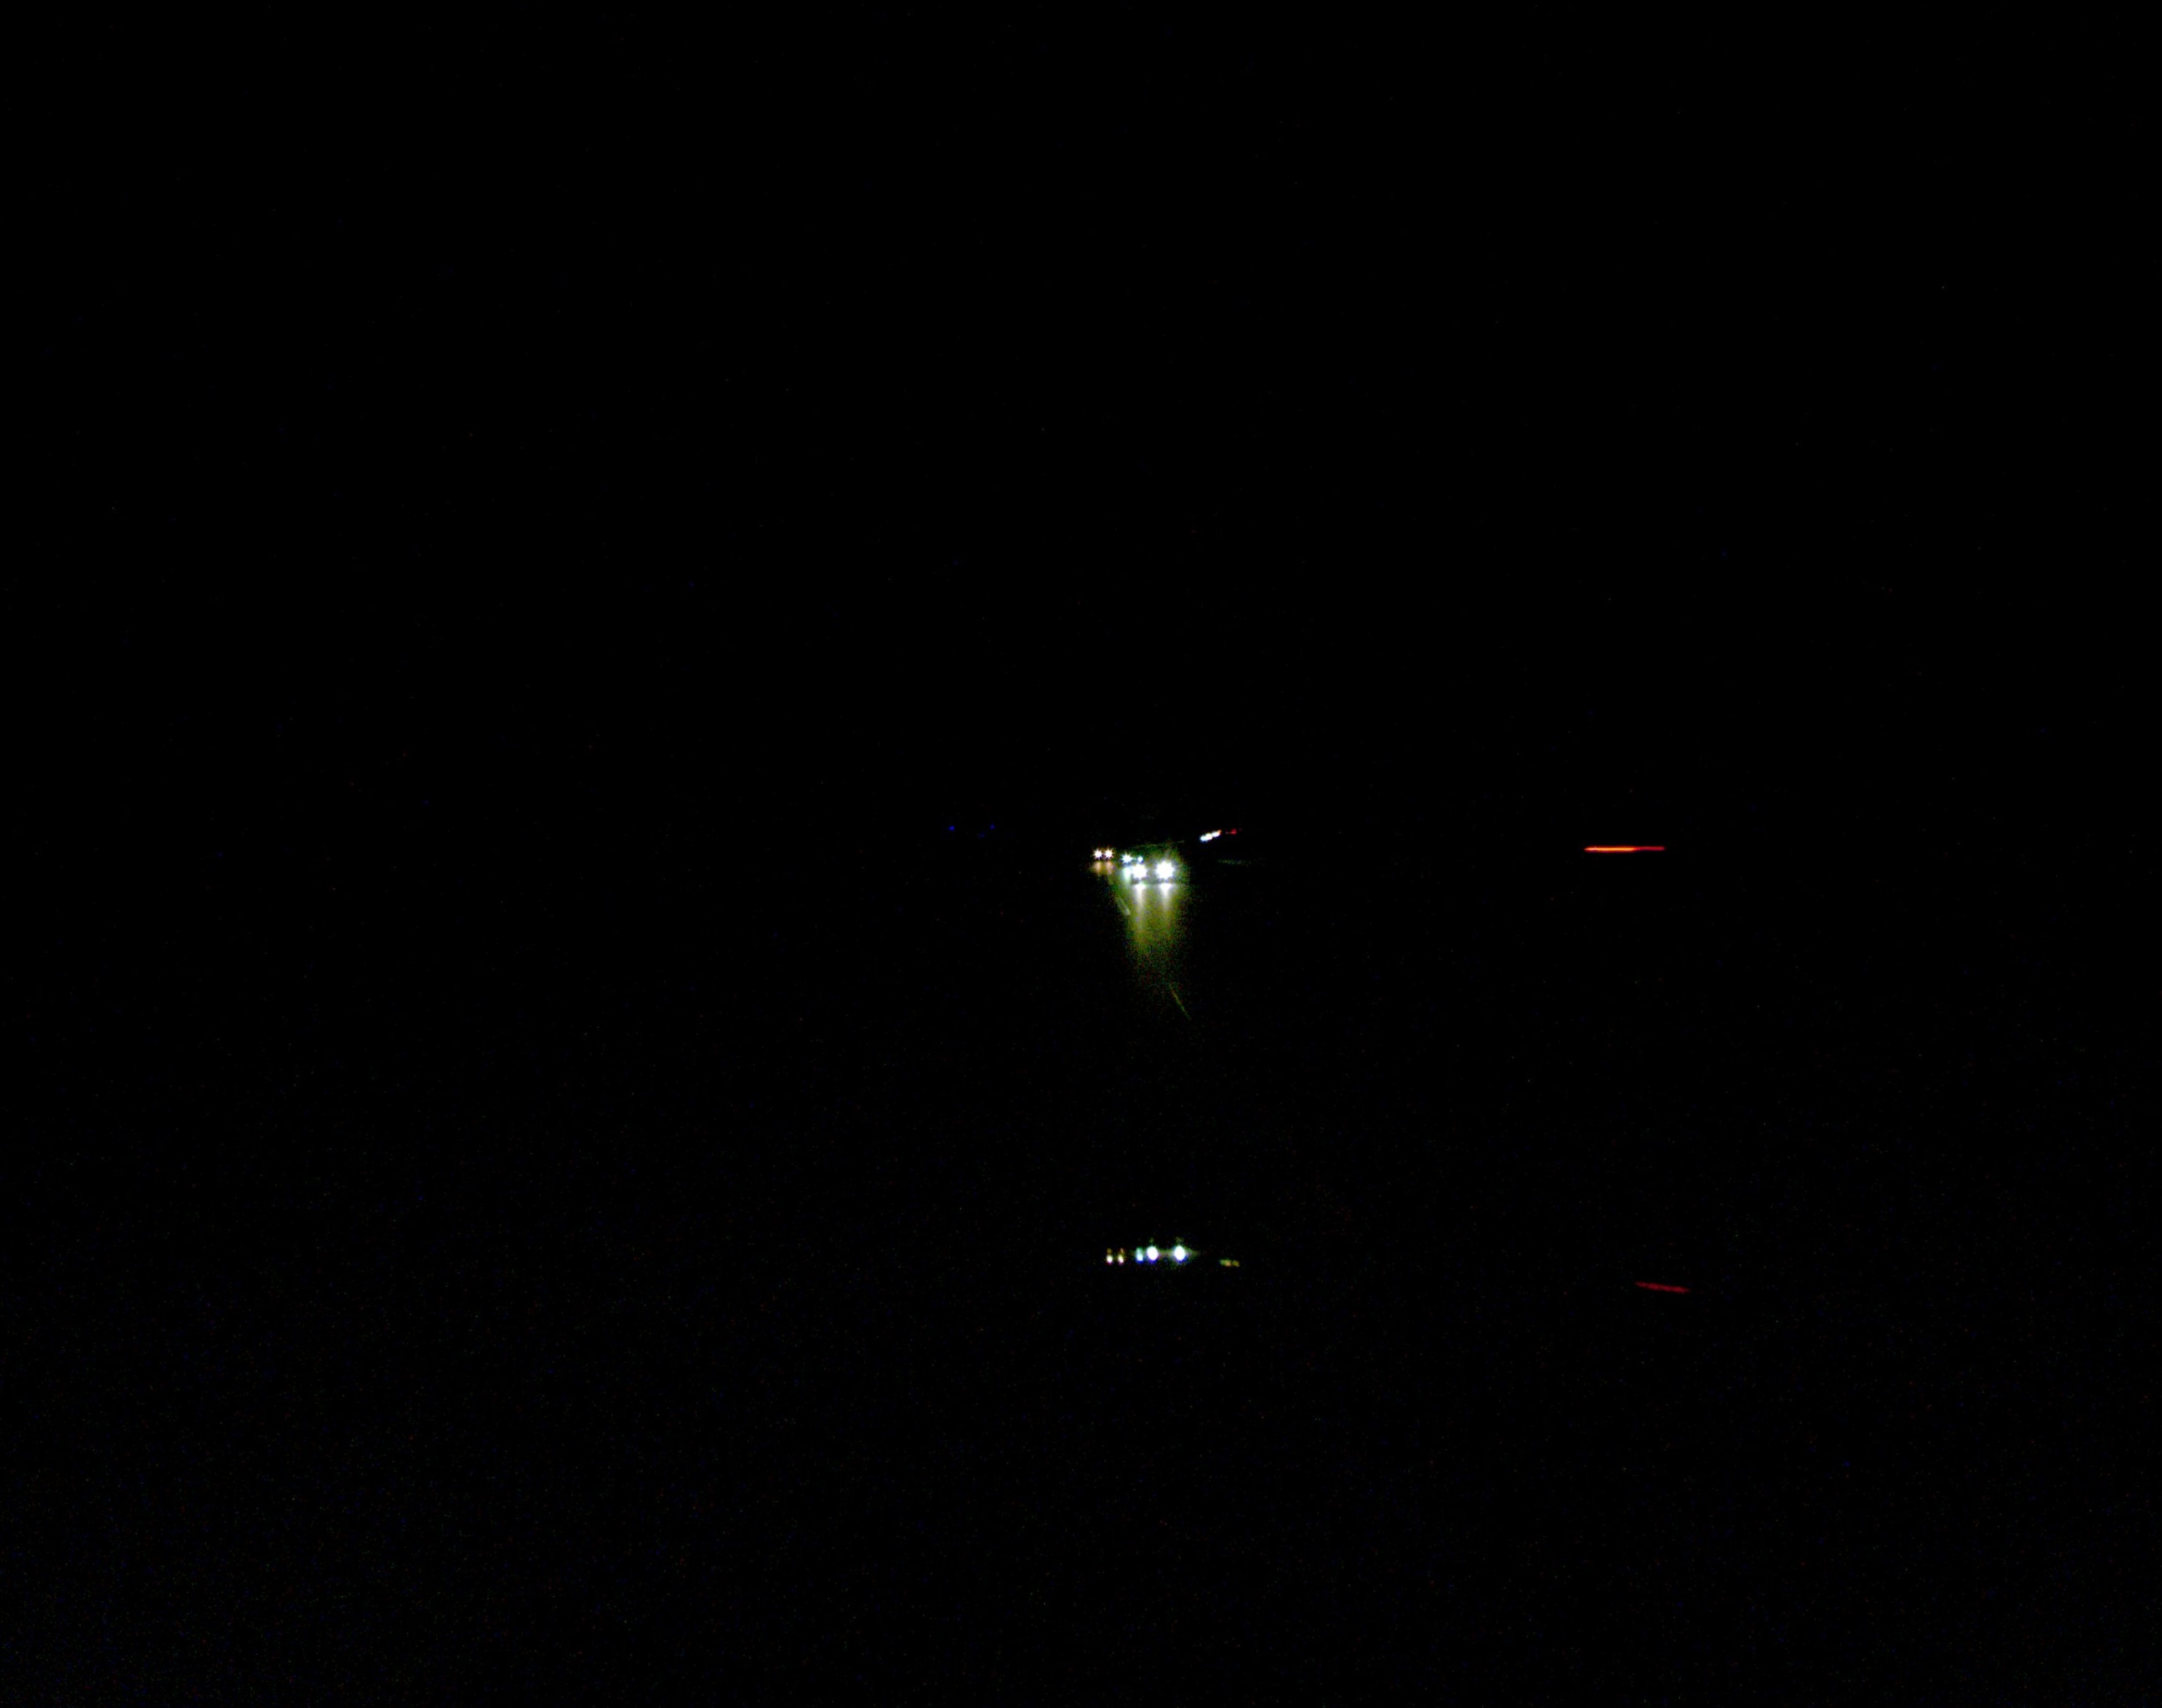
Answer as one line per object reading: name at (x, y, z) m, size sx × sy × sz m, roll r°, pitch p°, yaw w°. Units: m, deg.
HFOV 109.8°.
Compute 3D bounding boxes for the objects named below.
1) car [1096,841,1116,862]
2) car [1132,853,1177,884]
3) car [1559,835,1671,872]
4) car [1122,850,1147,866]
car at (3.586, -0.426, 109.346) m, size 2.534 × 2.888 × 6.227 m, roll -3°, pitch 1°, yaw 2°
car at (3.751, 0.705, 39.294) m, size 1.833 × 1.404 × 3.999 m, roll -3°, pitch 1°, yaw -1°
car at (24.295, -0.030, 34.801) m, size 1.999 × 1.499 × 4.314 m, roll -2°, pitch 0°, yaw -1°
car at (5.521, 0.366, 78.111) m, size 1.997 × 1.456 × 4.002 m, roll -3°, pitch 1°, yaw 11°
